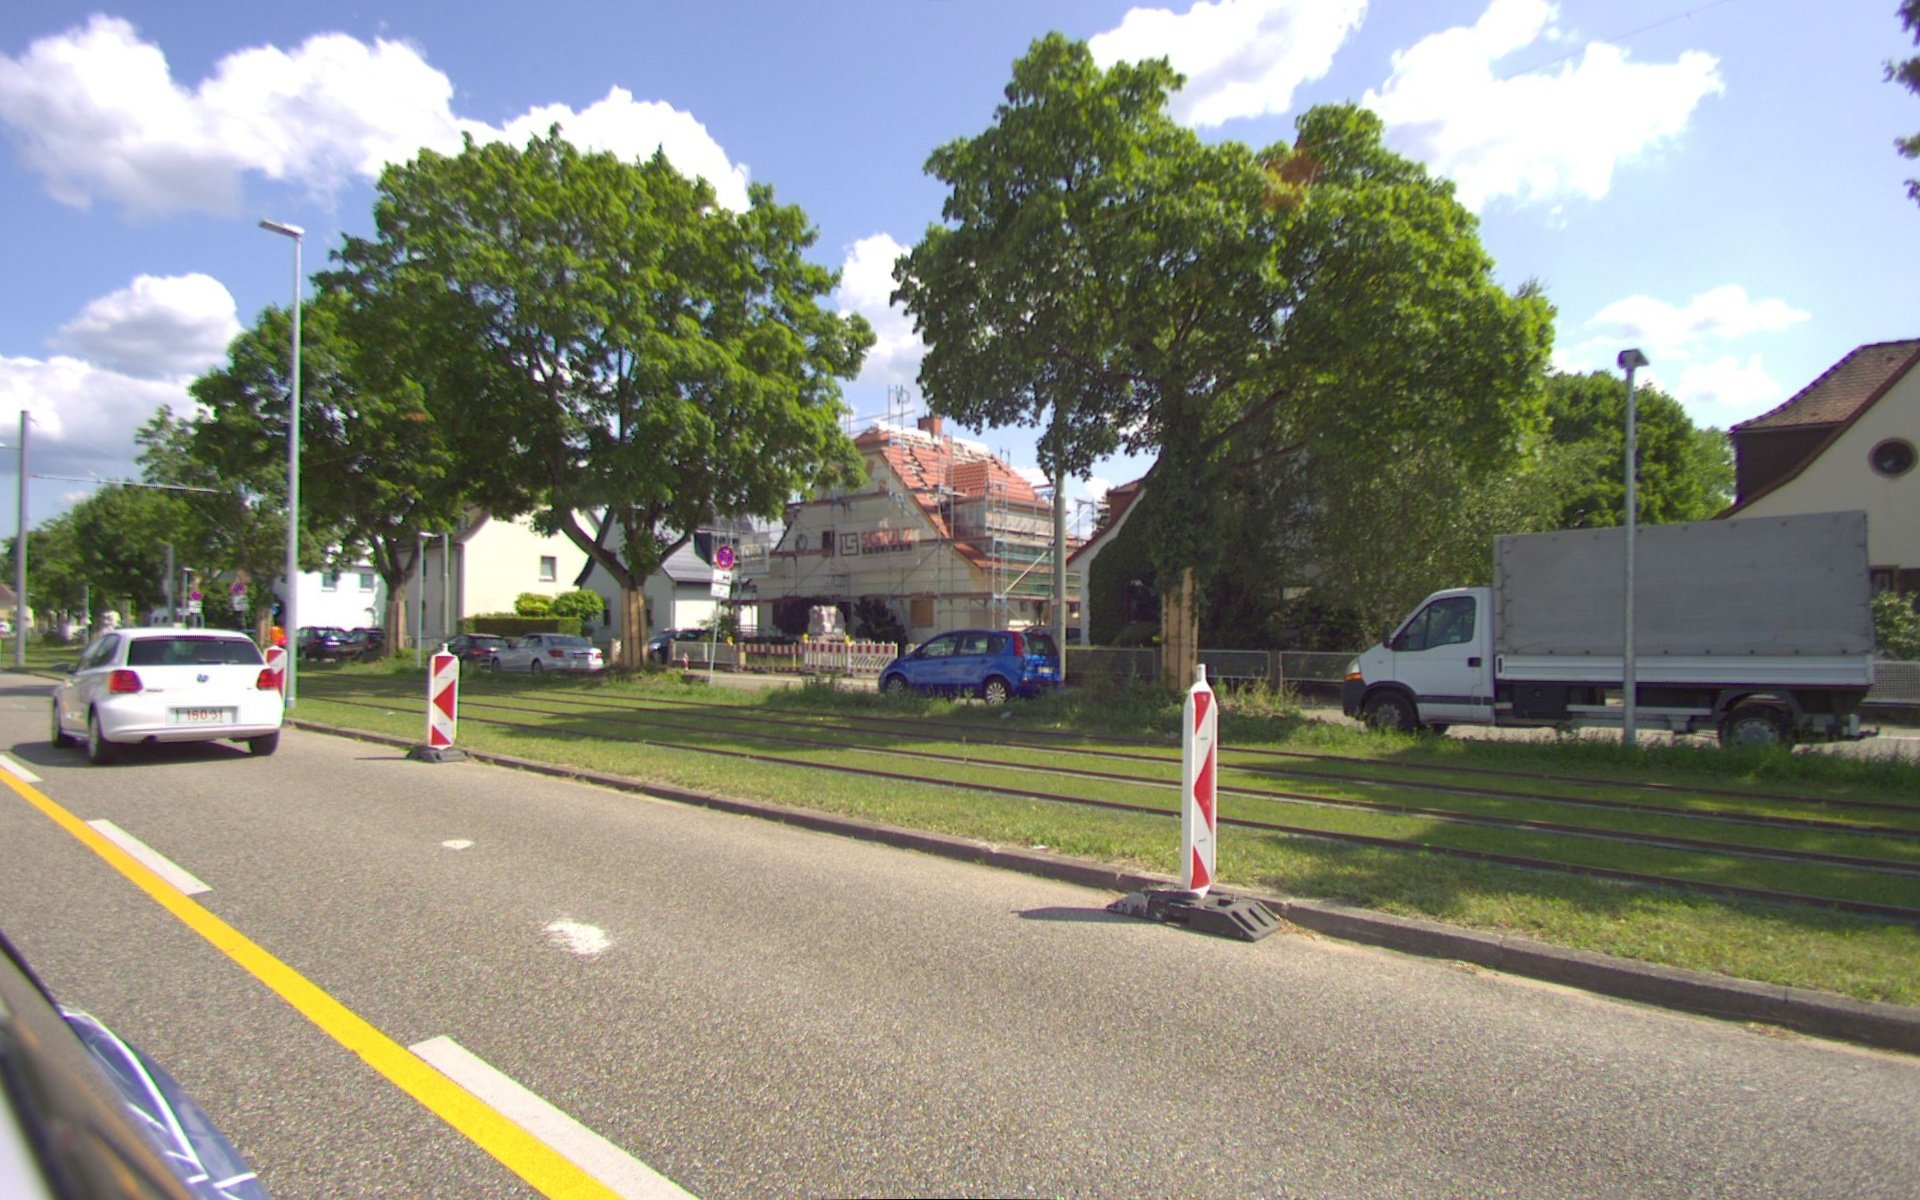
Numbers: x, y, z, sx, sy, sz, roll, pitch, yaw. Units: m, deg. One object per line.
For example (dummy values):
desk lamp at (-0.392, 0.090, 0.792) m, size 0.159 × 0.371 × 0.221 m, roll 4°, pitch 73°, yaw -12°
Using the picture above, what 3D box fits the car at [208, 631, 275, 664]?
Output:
car at (-37.647, 2.464, 52.979) m, size 4.603 × 1.623 × 1.733 m, roll -2°, pitch -3°, yaw 40°

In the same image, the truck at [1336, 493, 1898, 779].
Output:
truck at (8.274, 0.461, 13.358) m, size 5.871 × 3.010 × 1.982 m, roll -2°, pitch -3°, yaw 41°

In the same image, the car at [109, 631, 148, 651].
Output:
car at (-70.206, 3.443, 85.394) m, size 4.603 × 1.623 × 1.733 m, roll -2°, pitch -3°, yaw 40°

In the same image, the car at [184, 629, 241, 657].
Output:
car at (-44.648, 2.549, 60.404) m, size 4.603 × 1.623 × 1.733 m, roll -2°, pitch -3°, yaw 40°

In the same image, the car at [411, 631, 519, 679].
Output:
car at (-17.615, 1.911, 35.932) m, size 4.603 × 1.623 × 1.733 m, roll -2°, pitch -3°, yaw 40°

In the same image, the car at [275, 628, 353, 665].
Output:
car at (-29.604, 2.094, 46.331) m, size 4.603 × 1.623 × 1.733 m, roll -2°, pitch -3°, yaw 40°

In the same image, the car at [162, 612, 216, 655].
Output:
car at (-48.866, 2.102, 64.089) m, size 4.603 × 2.636 × 1.733 m, roll -2°, pitch -3°, yaw 40°

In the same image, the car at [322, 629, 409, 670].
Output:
car at (-25.185, 2.070, 42.827) m, size 4.603 × 1.623 × 1.733 m, roll -2°, pitch -3°, yaw 40°

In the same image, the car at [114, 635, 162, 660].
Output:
car at (-57.026, 3.263, 70.149) m, size 4.603 × 1.623 × 1.733 m, roll -2°, pitch -3°, yaw 40°

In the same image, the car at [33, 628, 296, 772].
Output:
car at (-9.595, 1.057, 12.084) m, size 4.260 × 1.424 × 1.697 m, roll -2°, pitch -3°, yaw 41°

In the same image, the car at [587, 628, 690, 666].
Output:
car at (-14.084, 2.043, 44.509) m, size 1.756 × 1.623 × 3.995 m, roll -2°, pitch -3°, yaw 41°

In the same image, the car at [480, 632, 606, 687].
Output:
car at (-13.174, 1.827, 31.862) m, size 4.603 × 1.623 × 1.733 m, roll -2°, pitch -3°, yaw 40°

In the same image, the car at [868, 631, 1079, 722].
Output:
car at (0.205, 1.439, 20.179) m, size 4.047 × 1.623 × 1.733 m, roll -2°, pitch -3°, yaw 40°
